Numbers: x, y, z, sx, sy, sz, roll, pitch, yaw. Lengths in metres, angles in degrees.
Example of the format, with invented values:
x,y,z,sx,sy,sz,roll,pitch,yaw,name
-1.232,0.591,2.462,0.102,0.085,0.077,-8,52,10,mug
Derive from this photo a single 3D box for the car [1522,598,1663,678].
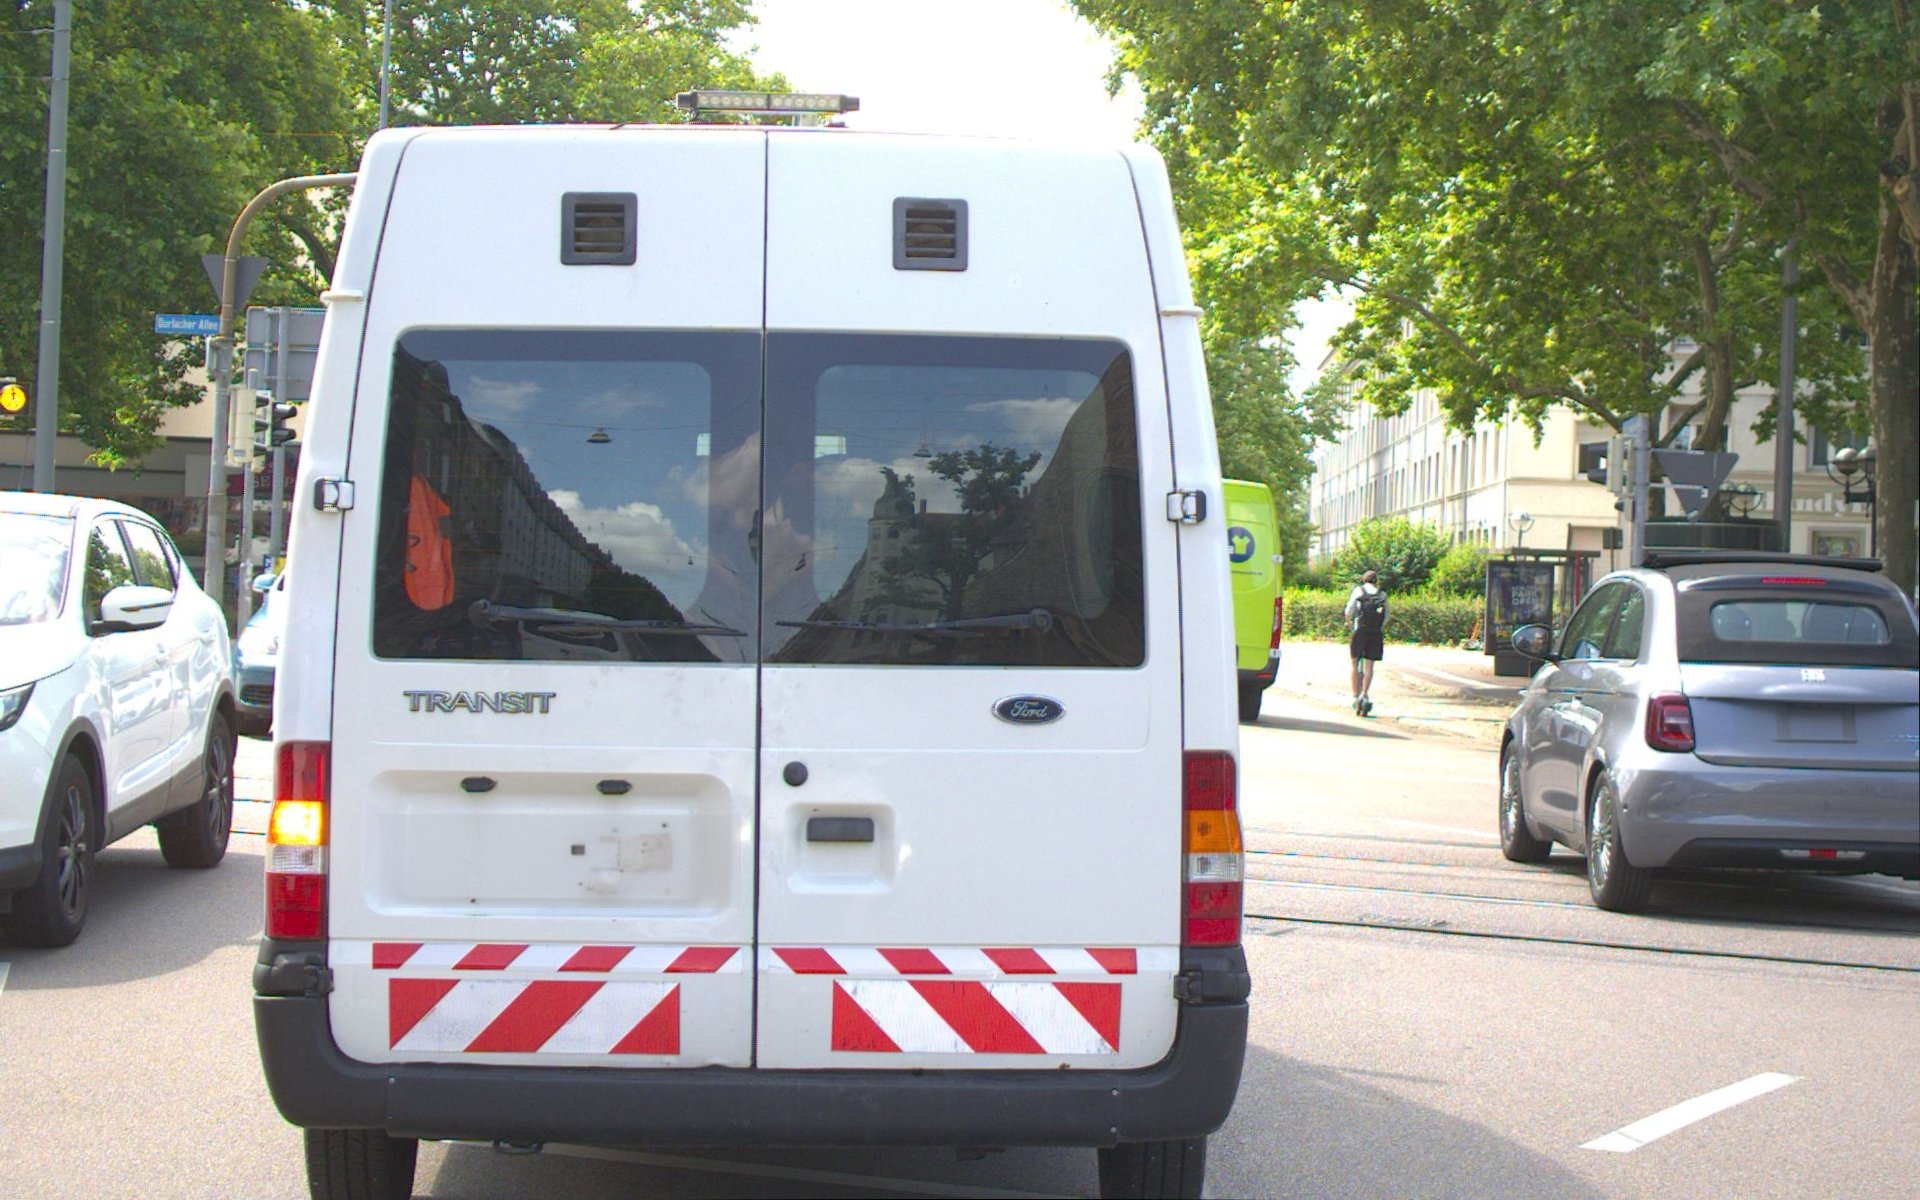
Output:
x,y,z,sx,sy,sz,roll,pitch,yaw,name
13.588,0.809,73.662,2.030,1.595,4.533,2,0,22,car

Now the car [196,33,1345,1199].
x,y,z,sx,sy,sz,roll,pitch,yaw,name
-0.516,0.111,8.709,2.047,2.325,4.715,2,1,-4,car

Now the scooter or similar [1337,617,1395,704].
x,y,z,sx,sy,sz,roll,pitch,yaw,name
5.314,0.785,45.090,0.549,1.088,1.292,2,1,-1,scooter or similar

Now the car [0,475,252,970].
x,y,z,sx,sy,sz,roll,pitch,yaw,name
-3.918,0.328,12.919,1.770,1.577,4.021,1,2,-1,car

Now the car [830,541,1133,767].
x,y,z,sx,sy,sz,roll,pitch,yaw,name
0.077,0.343,25.871,1.814,1.500,4.132,2,1,-6,car

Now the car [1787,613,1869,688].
x,y,z,sx,sy,sz,roll,pitch,yaw,name
17.091,0.986,67.626,1.466,1.384,3.065,2,0,15,car

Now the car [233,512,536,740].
x,y,z,sx,sy,sz,roll,pitch,yaw,name
-4.179,0.149,25.483,1.747,1.535,3.932,1,1,-3,car

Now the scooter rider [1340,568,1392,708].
x,y,z,sx,sy,sz,roll,pitch,yaw,name
5.329,0.492,45.121,0.526,1.806,0.649,2,1,-1,scooter rider

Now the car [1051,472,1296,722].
x,y,z,sx,sy,sz,roll,pitch,yaw,name
2.395,-0.079,40.339,2.119,2.632,6.329,2,1,-2,car

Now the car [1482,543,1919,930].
x,y,z,sx,sy,sz,roll,pitch,yaw,name
3.536,0.539,15.827,1.691,1.532,3.468,2,1,0,car
